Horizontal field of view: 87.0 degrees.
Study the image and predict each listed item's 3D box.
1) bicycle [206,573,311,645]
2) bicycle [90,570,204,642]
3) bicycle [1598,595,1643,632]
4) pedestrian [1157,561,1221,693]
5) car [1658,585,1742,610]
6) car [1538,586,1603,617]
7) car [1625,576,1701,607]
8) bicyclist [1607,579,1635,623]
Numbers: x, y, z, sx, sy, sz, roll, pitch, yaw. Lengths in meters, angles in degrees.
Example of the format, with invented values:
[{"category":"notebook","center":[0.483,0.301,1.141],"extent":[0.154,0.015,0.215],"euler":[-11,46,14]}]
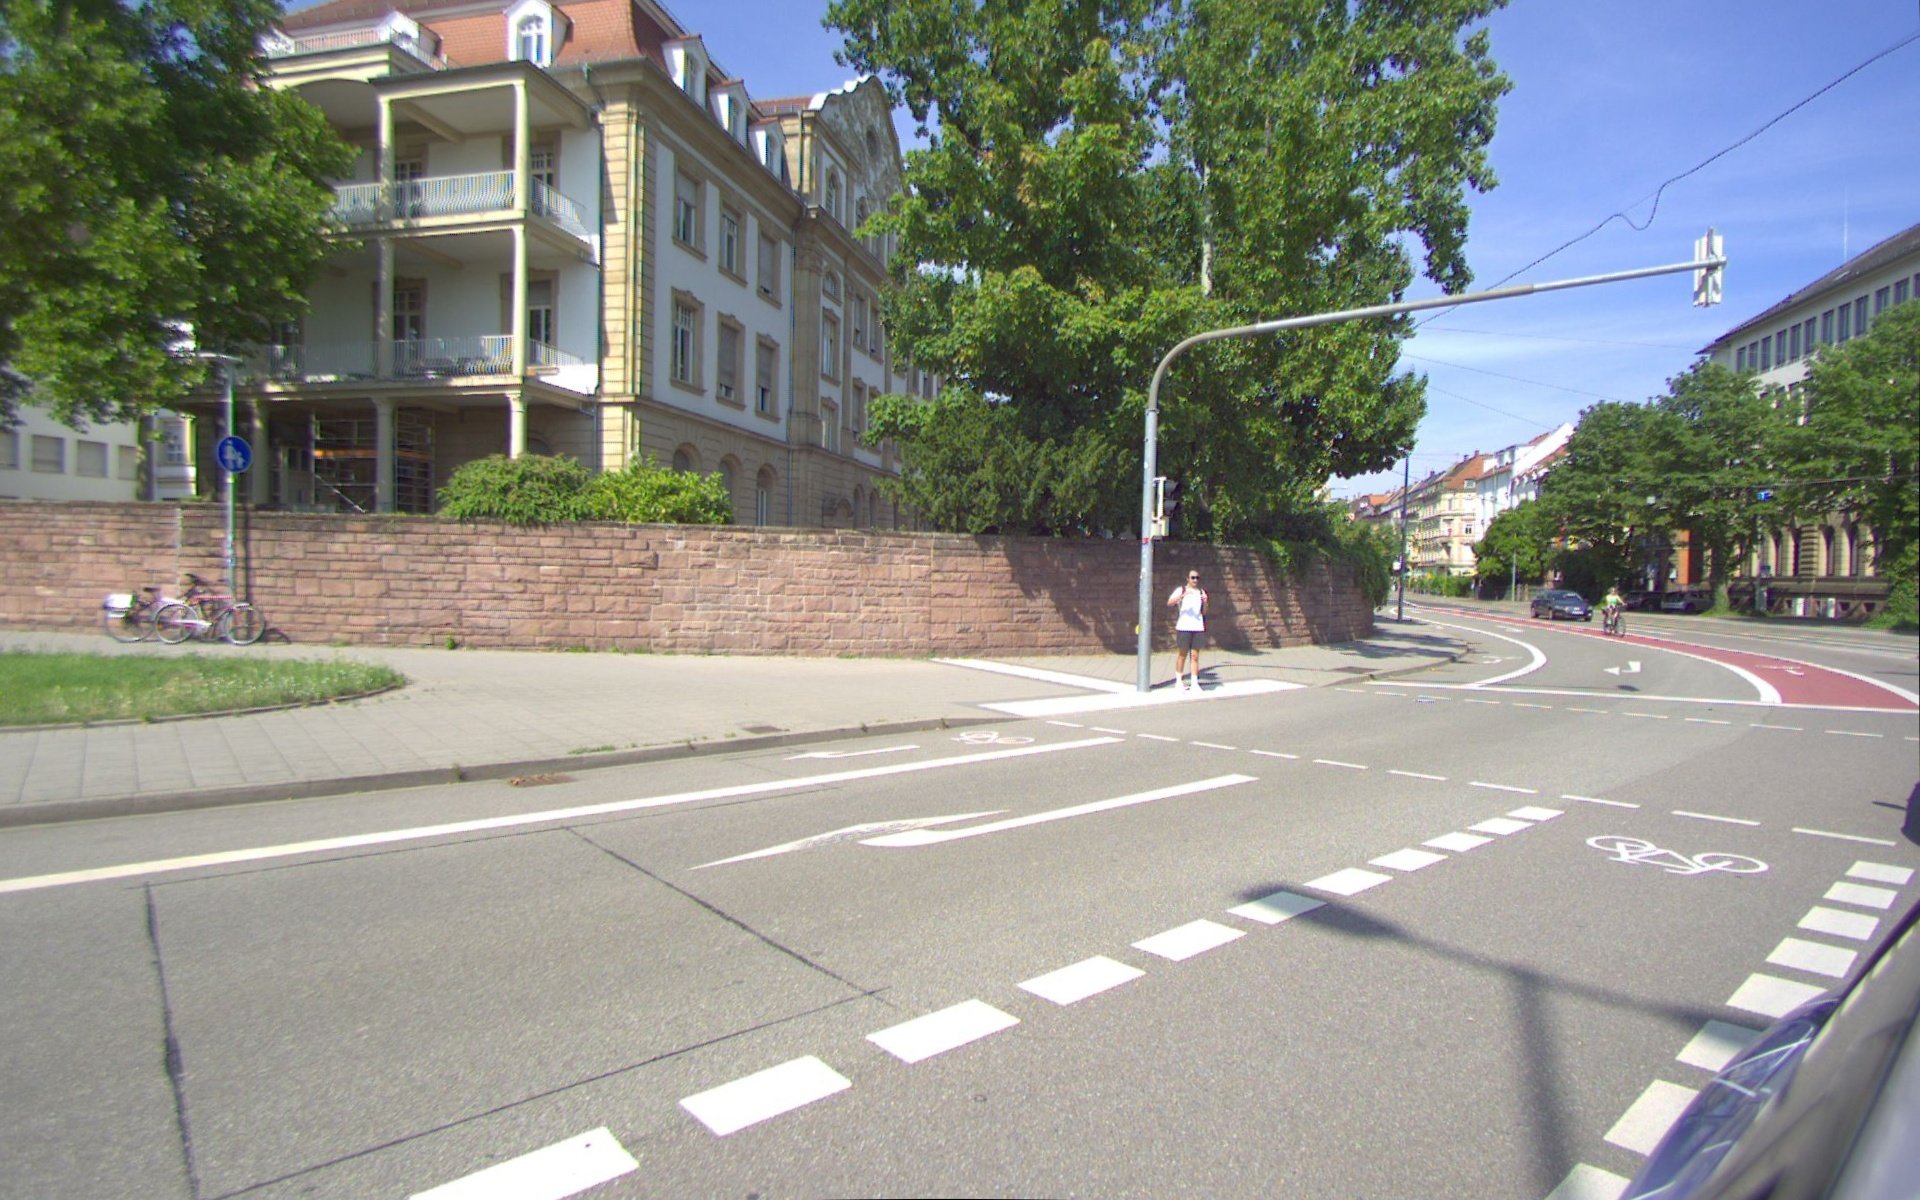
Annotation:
[{"category":"bicycle","center":[-11.524,0.152,16.646],"extent":[1.406,1.136,0.350],"euler":[1,1,-6]},{"category":"bicycle","center":[-13.247,0.094,16.523],"extent":[1.406,1.136,0.350],"euler":[1,1,-27]},{"category":"bicycle","center":[23.706,0.461,36.355],"extent":[0.676,1.237,2.176],"euler":[2,2,16]},{"category":"pedestrian","center":[3.458,0.383,15.270],"extent":[0.649,1.897,0.788],"euler":[4,2,31]},{"category":"car","center":[48.763,-0.198,66.805],"extent":[3.940,1.482,1.992],"euler":[2,2,14]},{"category":"car","center":[30.005,0.040,49.889],"extent":[1.779,1.393,4.252],"euler":[2,2,18]},{"category":"car","center":[50.205,-0.646,72.372],"extent":[3.940,2.038,1.992],"euler":[2,1,14]},{"category":"bicyclist","center":[23.663,0.026,36.234],"extent":[0.580,1.567,0.926],"euler":[-1,0,17]}]
